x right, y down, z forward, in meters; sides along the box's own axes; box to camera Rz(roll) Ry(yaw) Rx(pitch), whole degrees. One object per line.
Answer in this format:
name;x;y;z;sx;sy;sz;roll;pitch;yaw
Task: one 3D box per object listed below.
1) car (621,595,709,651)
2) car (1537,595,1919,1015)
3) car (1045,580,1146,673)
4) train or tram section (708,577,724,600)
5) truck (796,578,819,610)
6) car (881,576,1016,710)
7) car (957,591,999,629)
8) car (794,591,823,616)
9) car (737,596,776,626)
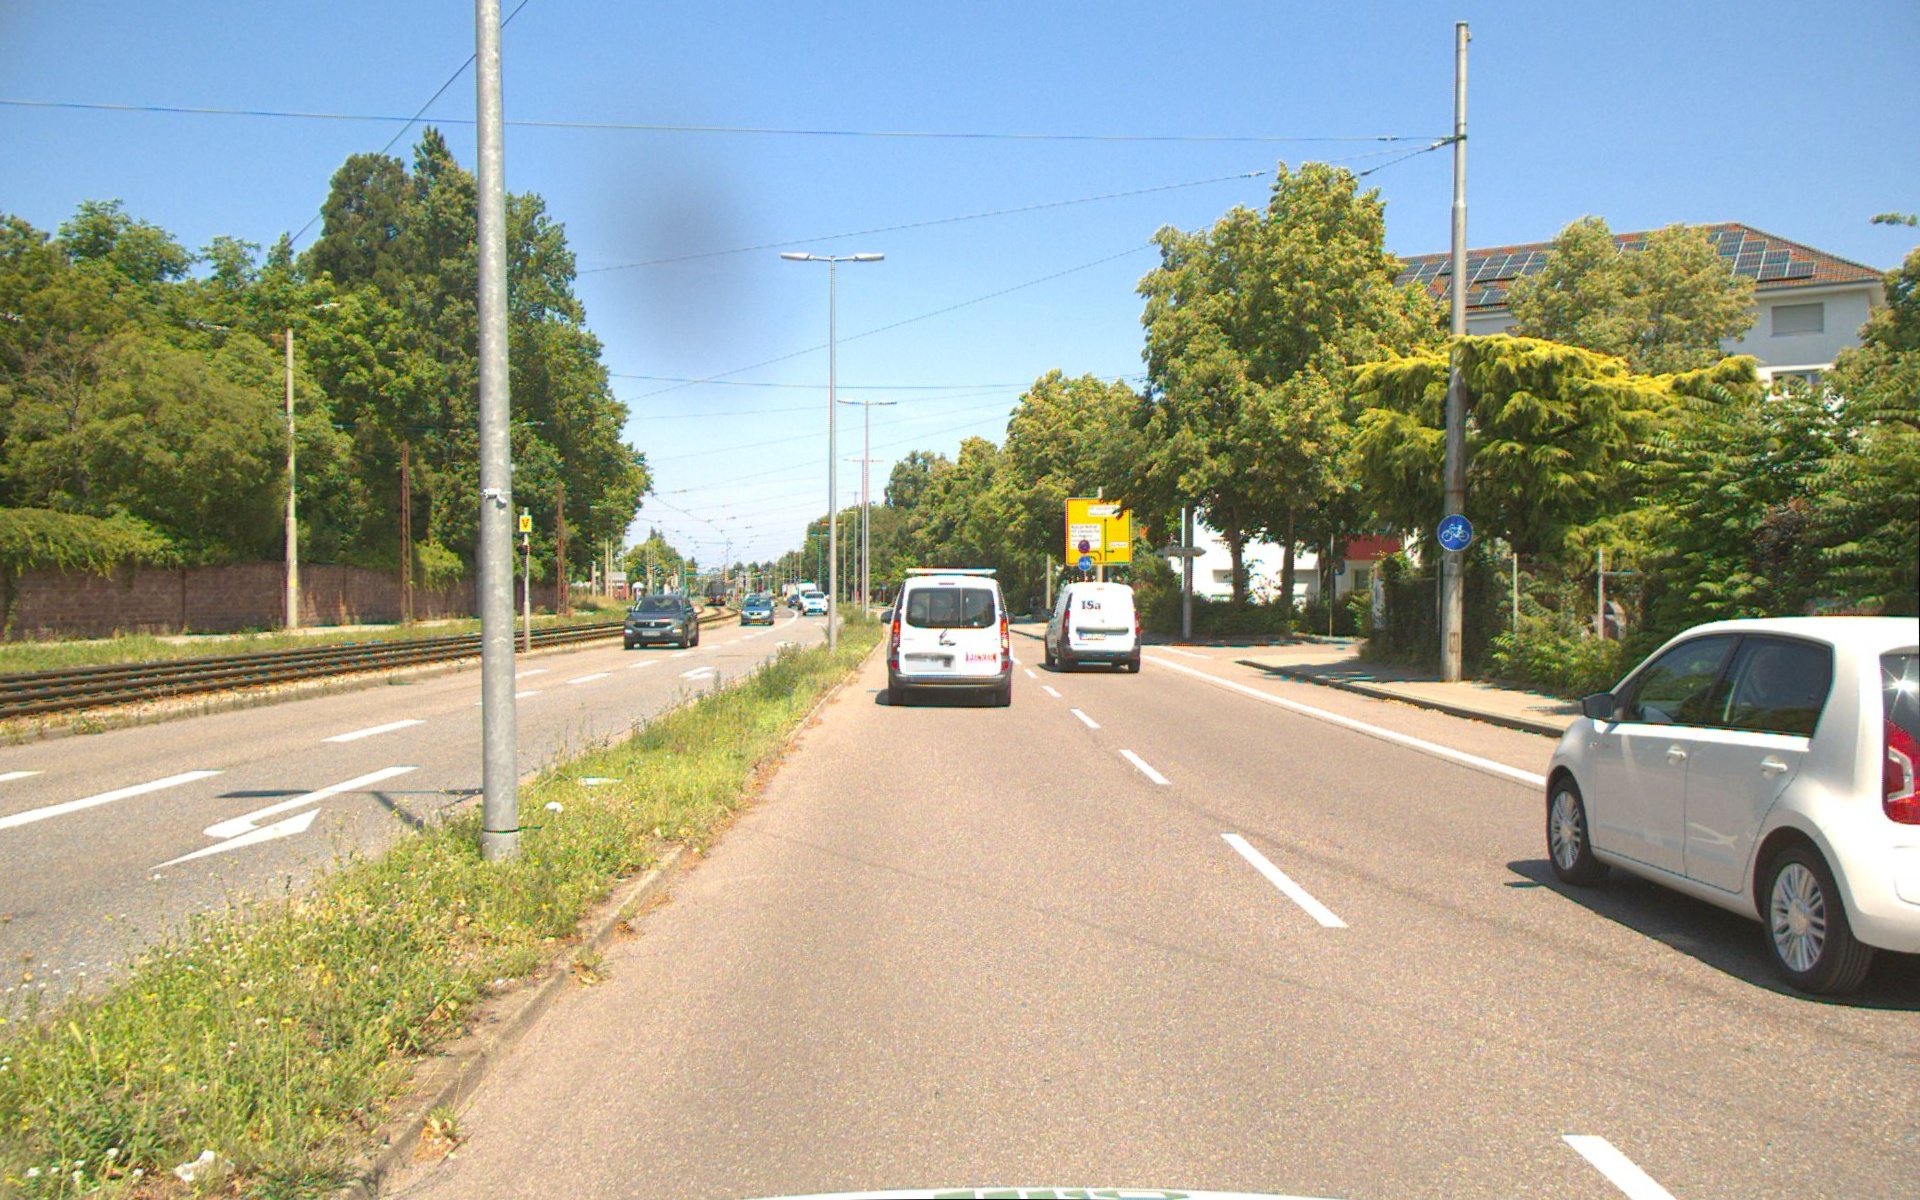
car;-8.552;0.637;48.206;1.662;1.539;4.067;-1;1;3
car;4.108;0.755;7.697;1.577;1.472;3.435;1;1;-1
car;2.805;0.526;34.946;1.692;1.819;4.063;1;0;-1
train or tram section;-35.234;-1.637;238.454;1.957;3.140;16.130;1;0;-10
truck;-15.923;-0.654;172.745;1.953;3.270;5.310;0;0;-1
car;-0.165;0.561;24.420;1.784;1.770;4.396;1;0;0
car;0.774;0.452;74.926;1.797;1.596;4.000;1;1;0
car;-11.591;0.254;126.924;1.953;1.847;3.999;0;0;-1
car;-10.558;0.551;85.960;1.663;1.464;3.998;-1;0;-3
